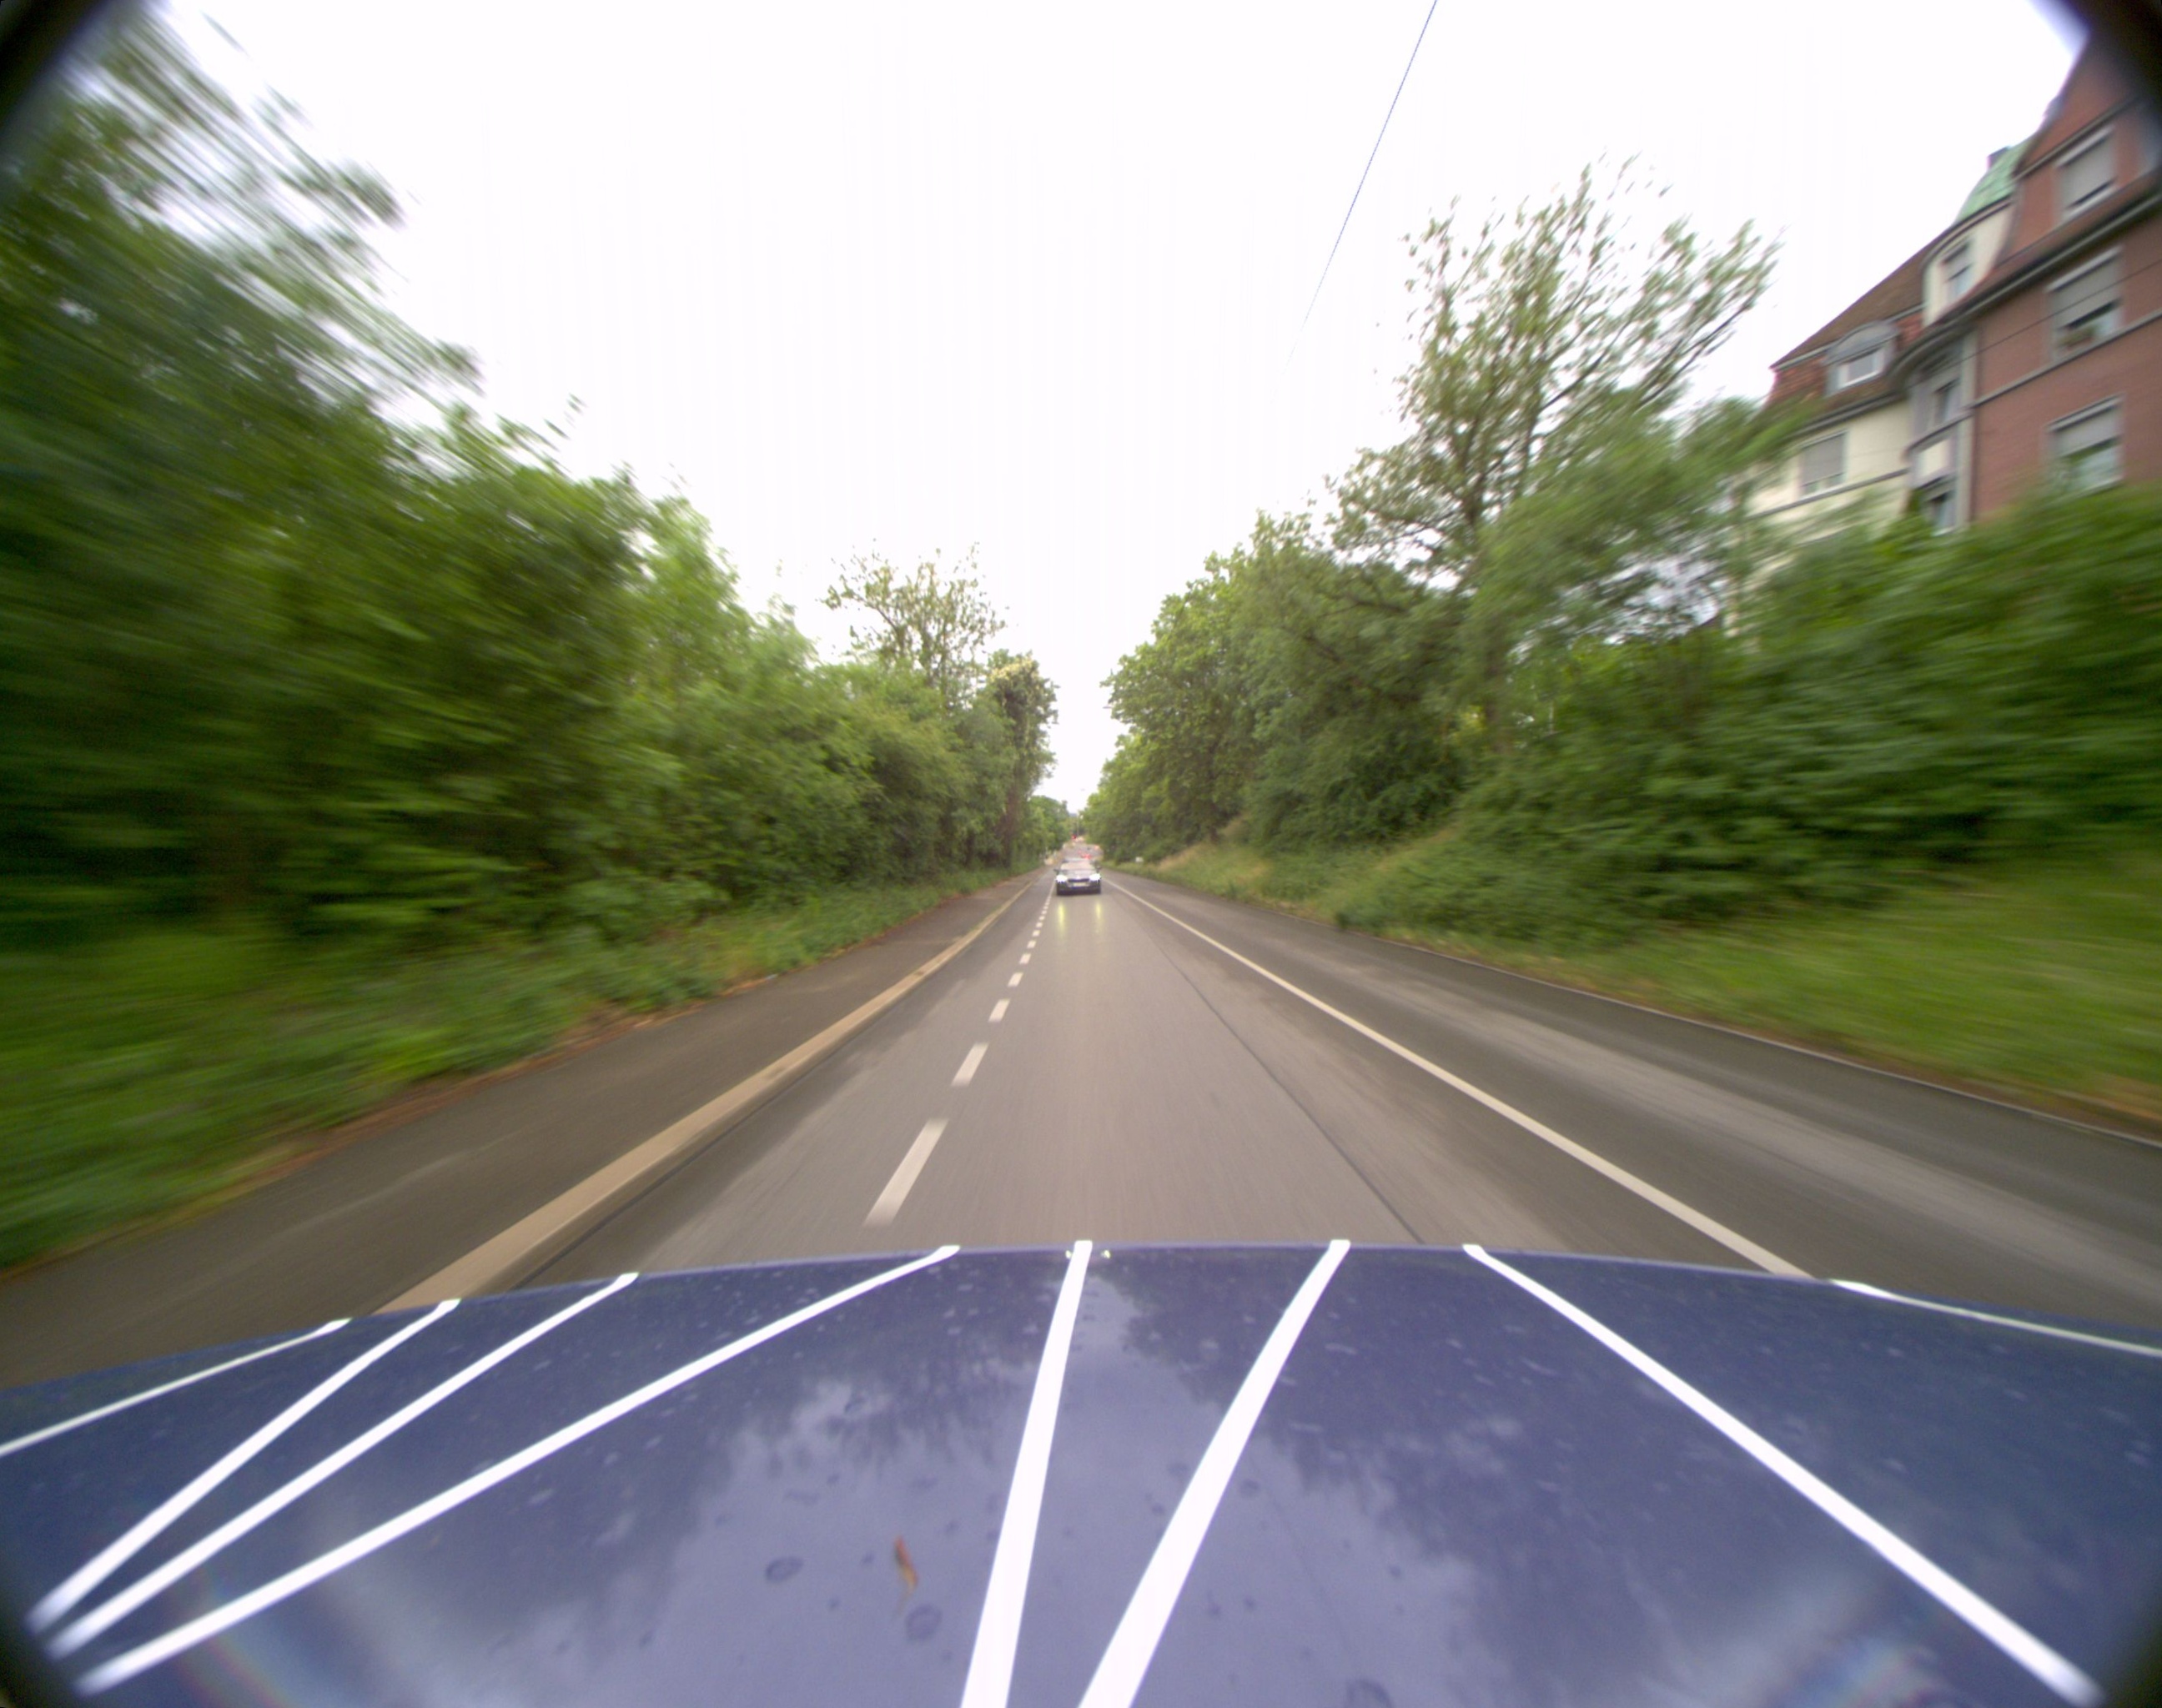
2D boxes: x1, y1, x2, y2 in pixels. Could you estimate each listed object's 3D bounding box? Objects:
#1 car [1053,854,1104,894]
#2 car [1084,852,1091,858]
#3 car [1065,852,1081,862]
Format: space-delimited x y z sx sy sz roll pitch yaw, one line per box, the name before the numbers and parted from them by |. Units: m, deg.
car | -0.147 0.786 32.319 1.981 1.497 3.999 -3 1 -2
car | 2.002 0.263 225.996 1.981 1.497 3.999 -3 1 -2
car | -1.325 0.506 120.951 2.000 1.434 3.997 -3 1 -7
